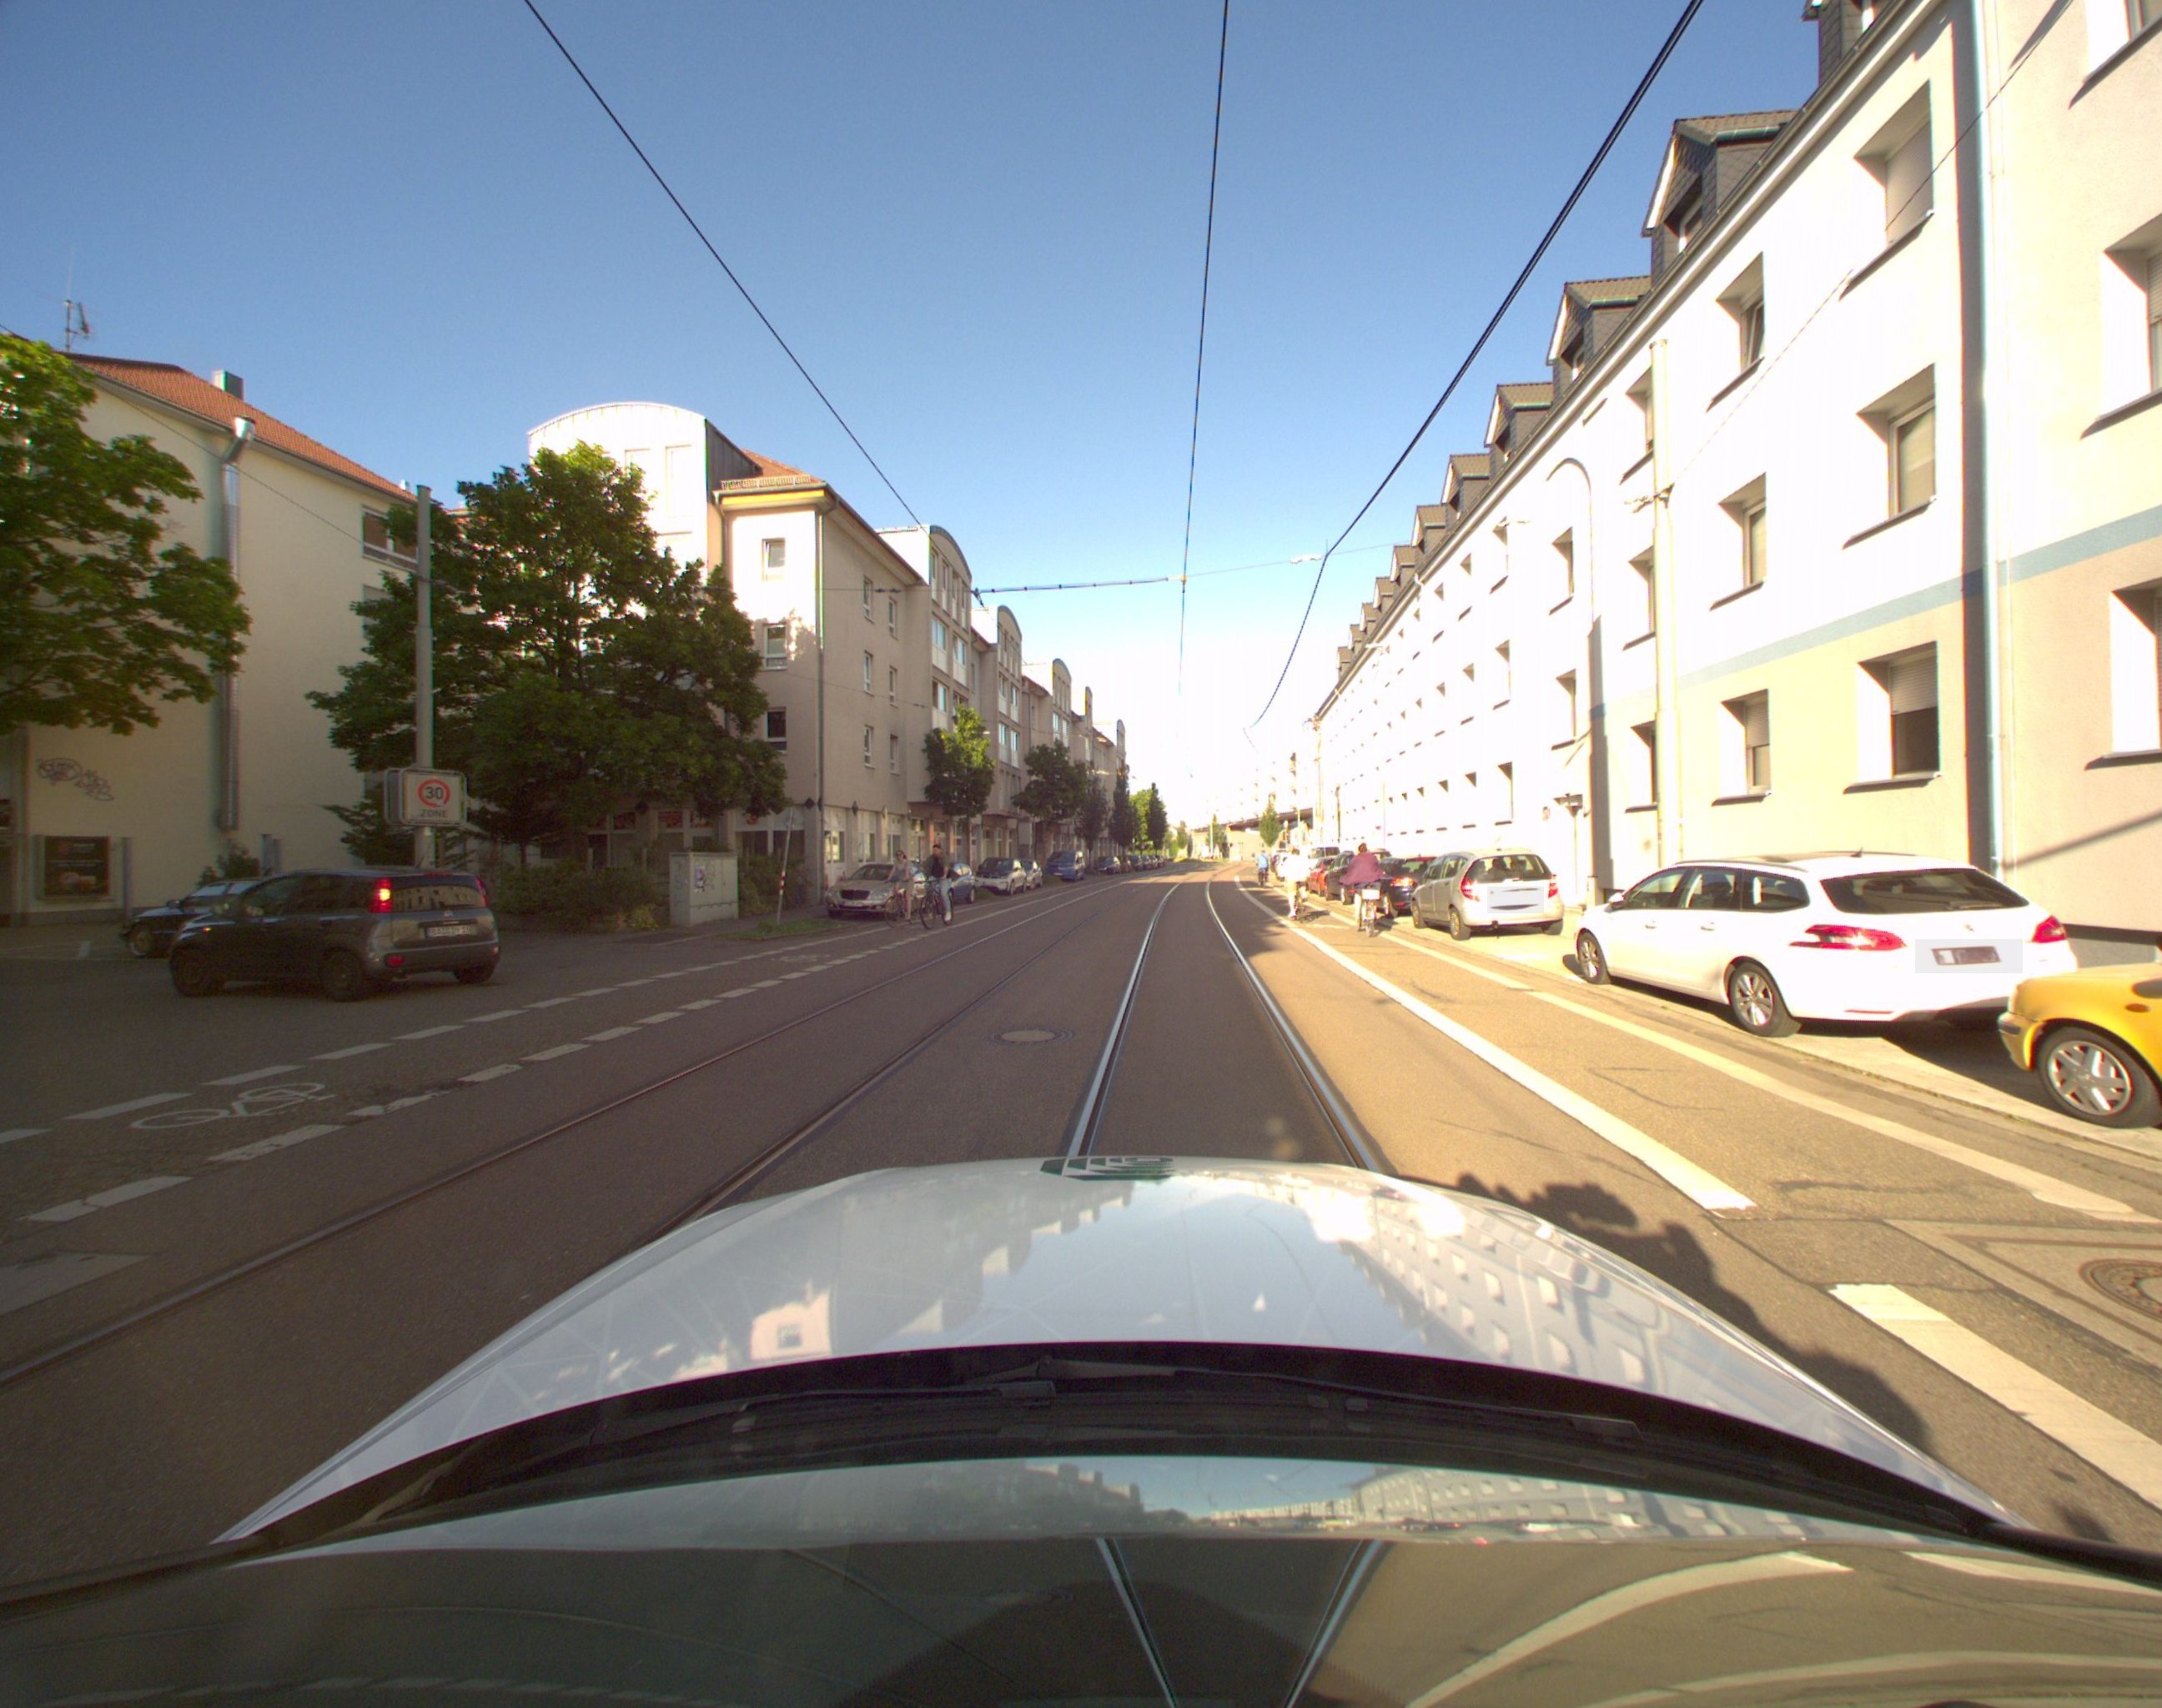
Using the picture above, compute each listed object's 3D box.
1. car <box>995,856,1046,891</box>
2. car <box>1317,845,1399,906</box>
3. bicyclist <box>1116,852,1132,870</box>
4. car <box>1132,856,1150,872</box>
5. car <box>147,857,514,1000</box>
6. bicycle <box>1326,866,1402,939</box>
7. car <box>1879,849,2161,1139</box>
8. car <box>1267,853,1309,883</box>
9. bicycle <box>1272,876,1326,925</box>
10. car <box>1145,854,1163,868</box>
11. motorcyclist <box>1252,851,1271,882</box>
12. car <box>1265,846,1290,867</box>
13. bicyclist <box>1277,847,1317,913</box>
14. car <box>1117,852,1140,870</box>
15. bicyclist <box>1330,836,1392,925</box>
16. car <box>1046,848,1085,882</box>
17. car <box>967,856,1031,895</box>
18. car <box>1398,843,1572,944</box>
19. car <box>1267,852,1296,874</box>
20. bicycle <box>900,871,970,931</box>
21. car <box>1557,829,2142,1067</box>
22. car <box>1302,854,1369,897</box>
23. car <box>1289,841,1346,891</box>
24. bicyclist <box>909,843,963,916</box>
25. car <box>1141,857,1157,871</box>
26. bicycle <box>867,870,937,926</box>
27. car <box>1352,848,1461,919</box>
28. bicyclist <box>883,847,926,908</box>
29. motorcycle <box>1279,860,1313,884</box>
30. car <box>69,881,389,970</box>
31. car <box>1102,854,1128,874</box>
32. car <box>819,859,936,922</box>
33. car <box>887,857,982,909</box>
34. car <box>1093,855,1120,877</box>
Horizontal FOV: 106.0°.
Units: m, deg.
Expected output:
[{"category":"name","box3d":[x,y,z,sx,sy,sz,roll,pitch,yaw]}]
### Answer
[{"category":"car","box3d":[-2.966,0.927,40.855,1.820,1.593,4.008,-1,0,7]},{"category":"car","box3d":[8.697,0.620,25.878,1.651,1.669,3.912,-4,0,8]},{"category":"bicyclist","box3d":[3.222,0.520,61.151,1.177,1.330,1.096,-1,0,5]},{"category":"car","box3d":[6.208,1.023,83.784,1.583,1.540,3.198,-1,0,8]},{"category":"car","box3d":[-9.012,0.853,9.874,3.451,1.533,1.567,-2,-1,13]},{"category":"bicycle","box3d":[5.505,0.902,15.986,0.816,1.236,2.466,3,0,6]},{"category":"car","box3d":[6.099,0.683,3.494,1.506,1.431,4.208,-2,-1,6]},{"category":"car","box3d":[11.865,0.768,46.886,1.834,1.646,4.558,-1,0,8]},{"category":"bicycle","box3d":[4.943,1.024,18.628,0.735,0.924,2.841,2,0,6]},{"category":"car","box3d":[8.471,0.792,94.408,1.834,1.646,3.705,-1,0,8]},{"category":"motorcyclist","box3d":[8.129,0.556,36.743,0.724,1.405,1.022,-1,0,6]},{"category":"car","box3d":[18.006,0.218,74.764,1.834,1.756,4.558,-1,0,8]},{"category":"bicyclist","box3d":[4.928,0.568,18.639,0.724,1.462,1.022,-1,0,6]},{"category":"car","box3d":[4.710,0.651,80.019,1.834,1.646,4.558,-1,0,8]},{"category":"bicyclist","box3d":[5.420,0.498,15.842,0.929,1.676,0.971,-1,0,6]},{"category":"car","box3d":[-0.886,0.651,50.021,1.655,1.986,4.353,-1,0,9]},{"category":"car","box3d":[-3.574,0.896,36.142,1.819,1.593,4.010,-1,0,9]},{"category":"car","box3d":[7.506,0.657,15.571,1.744,1.571,3.913,-4,0,8]},{"category":"car","box3d":[15.936,0.671,64.901,1.834,1.646,3.973,-1,0,8]},{"category":"bicycle","box3d":[-3.253,1.019,18.353,0.834,1.149,2.237,-5,-1,7]},{"category":"car","box3d":[6.506,0.645,7.787,1.671,1.571,4.518,-3,0,7]},{"category":"car","box3d":[9.533,0.777,30.732,1.786,1.483,3.787,-1,0,8]},{"category":"car","box3d":[10.224,0.499,35.485,1.776,1.970,4.164,-3,0,8]},{"category":"bicyclist","box3d":[-3.257,0.563,18.400,0.877,1.561,0.870,-4,-1,6]},{"category":"car","box3d":[7.332,1.064,87.909,1.583,1.540,3.198,-1,0,8]},{"category":"bicycle","box3d":[-4.219,1.010,19.363,0.834,1.149,2.237,-5,-1,7]},{"category":"car","box3d":[8.057,0.676,20.515,1.582,1.537,4.017,-3,0,8]},{"category":"bicyclist","box3d":[-4.202,0.546,19.404,0.620,1.380,0.870,-5,-1,7]},{"category":"motorcycle","box3d":[10.798,0.904,40.996,0.494,1.144,1.753,-1,0,-33]},{"category":"car","box3d":[-15.095,1.241,14.505,4.526,1.388,1.719,-1,-1,10]},{"category":"car","box3d":[2.984,0.834,71.086,1.834,1.646,4.558,-1,0,8]},{"category":"car","box3d":[-5.423,0.926,22.244,1.735,1.443,4.008,2,0,7]},{"category":"car","box3d":[-4.853,0.929,27.563,1.818,1.489,4.011,-3,0,10]},{"category":"car","box3d":[2.072,0.931,65.412,1.655,1.618,4.010,-1,0,9]}]
